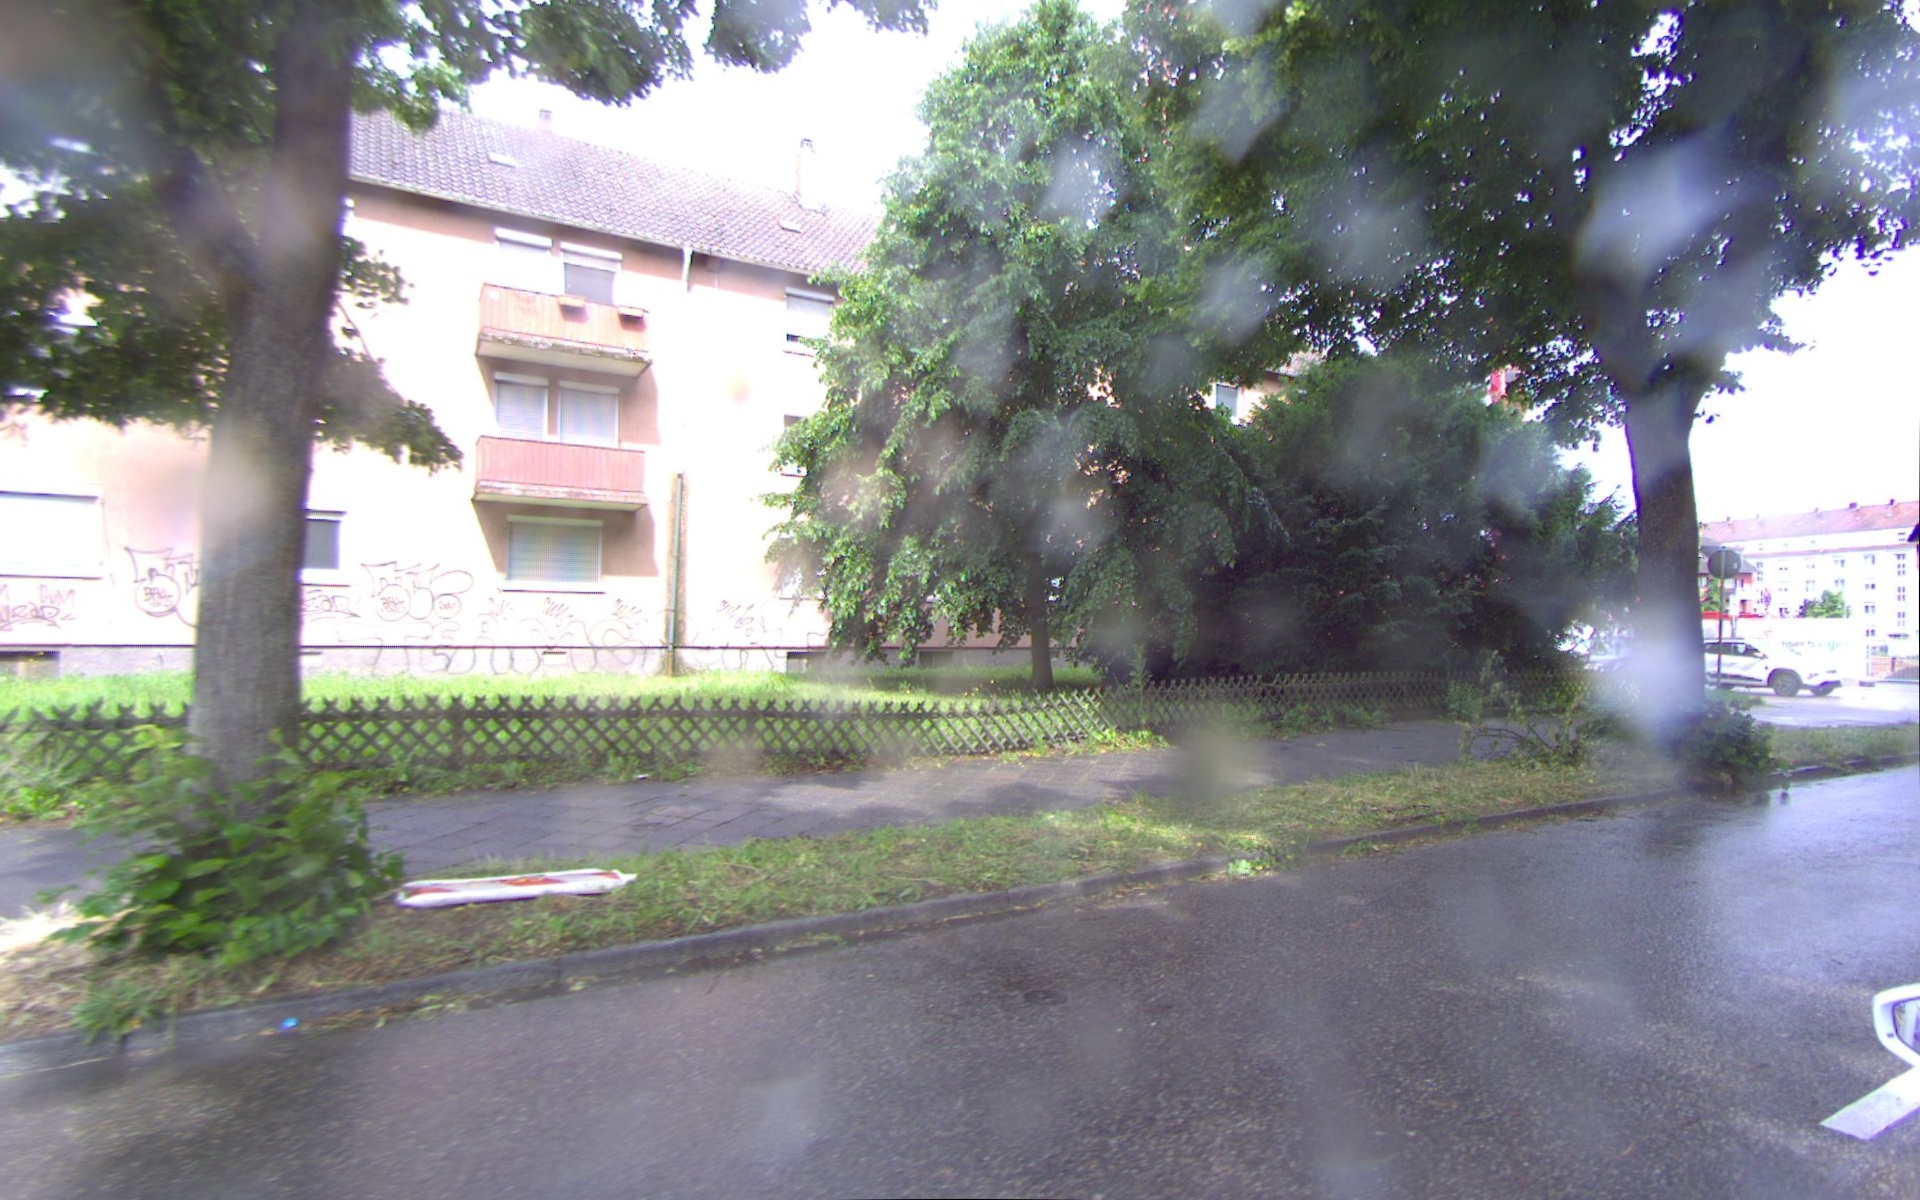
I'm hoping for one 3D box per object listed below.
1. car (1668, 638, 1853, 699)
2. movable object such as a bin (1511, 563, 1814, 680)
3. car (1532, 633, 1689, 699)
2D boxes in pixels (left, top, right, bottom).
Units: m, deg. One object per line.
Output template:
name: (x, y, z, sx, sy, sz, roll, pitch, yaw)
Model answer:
car: (21.753, 1.812, 27.471, 1.712, 1.554, 3.601, 1, -2, -20)
movable object such as a bin: (28.209, 0.827, 41.072, 3.324, 4.170, 9.773, 1, -1, -28)
car: (15.872, 1.617, 24.469, 3.825, 1.439, 1.616, 4, -1, -30)
